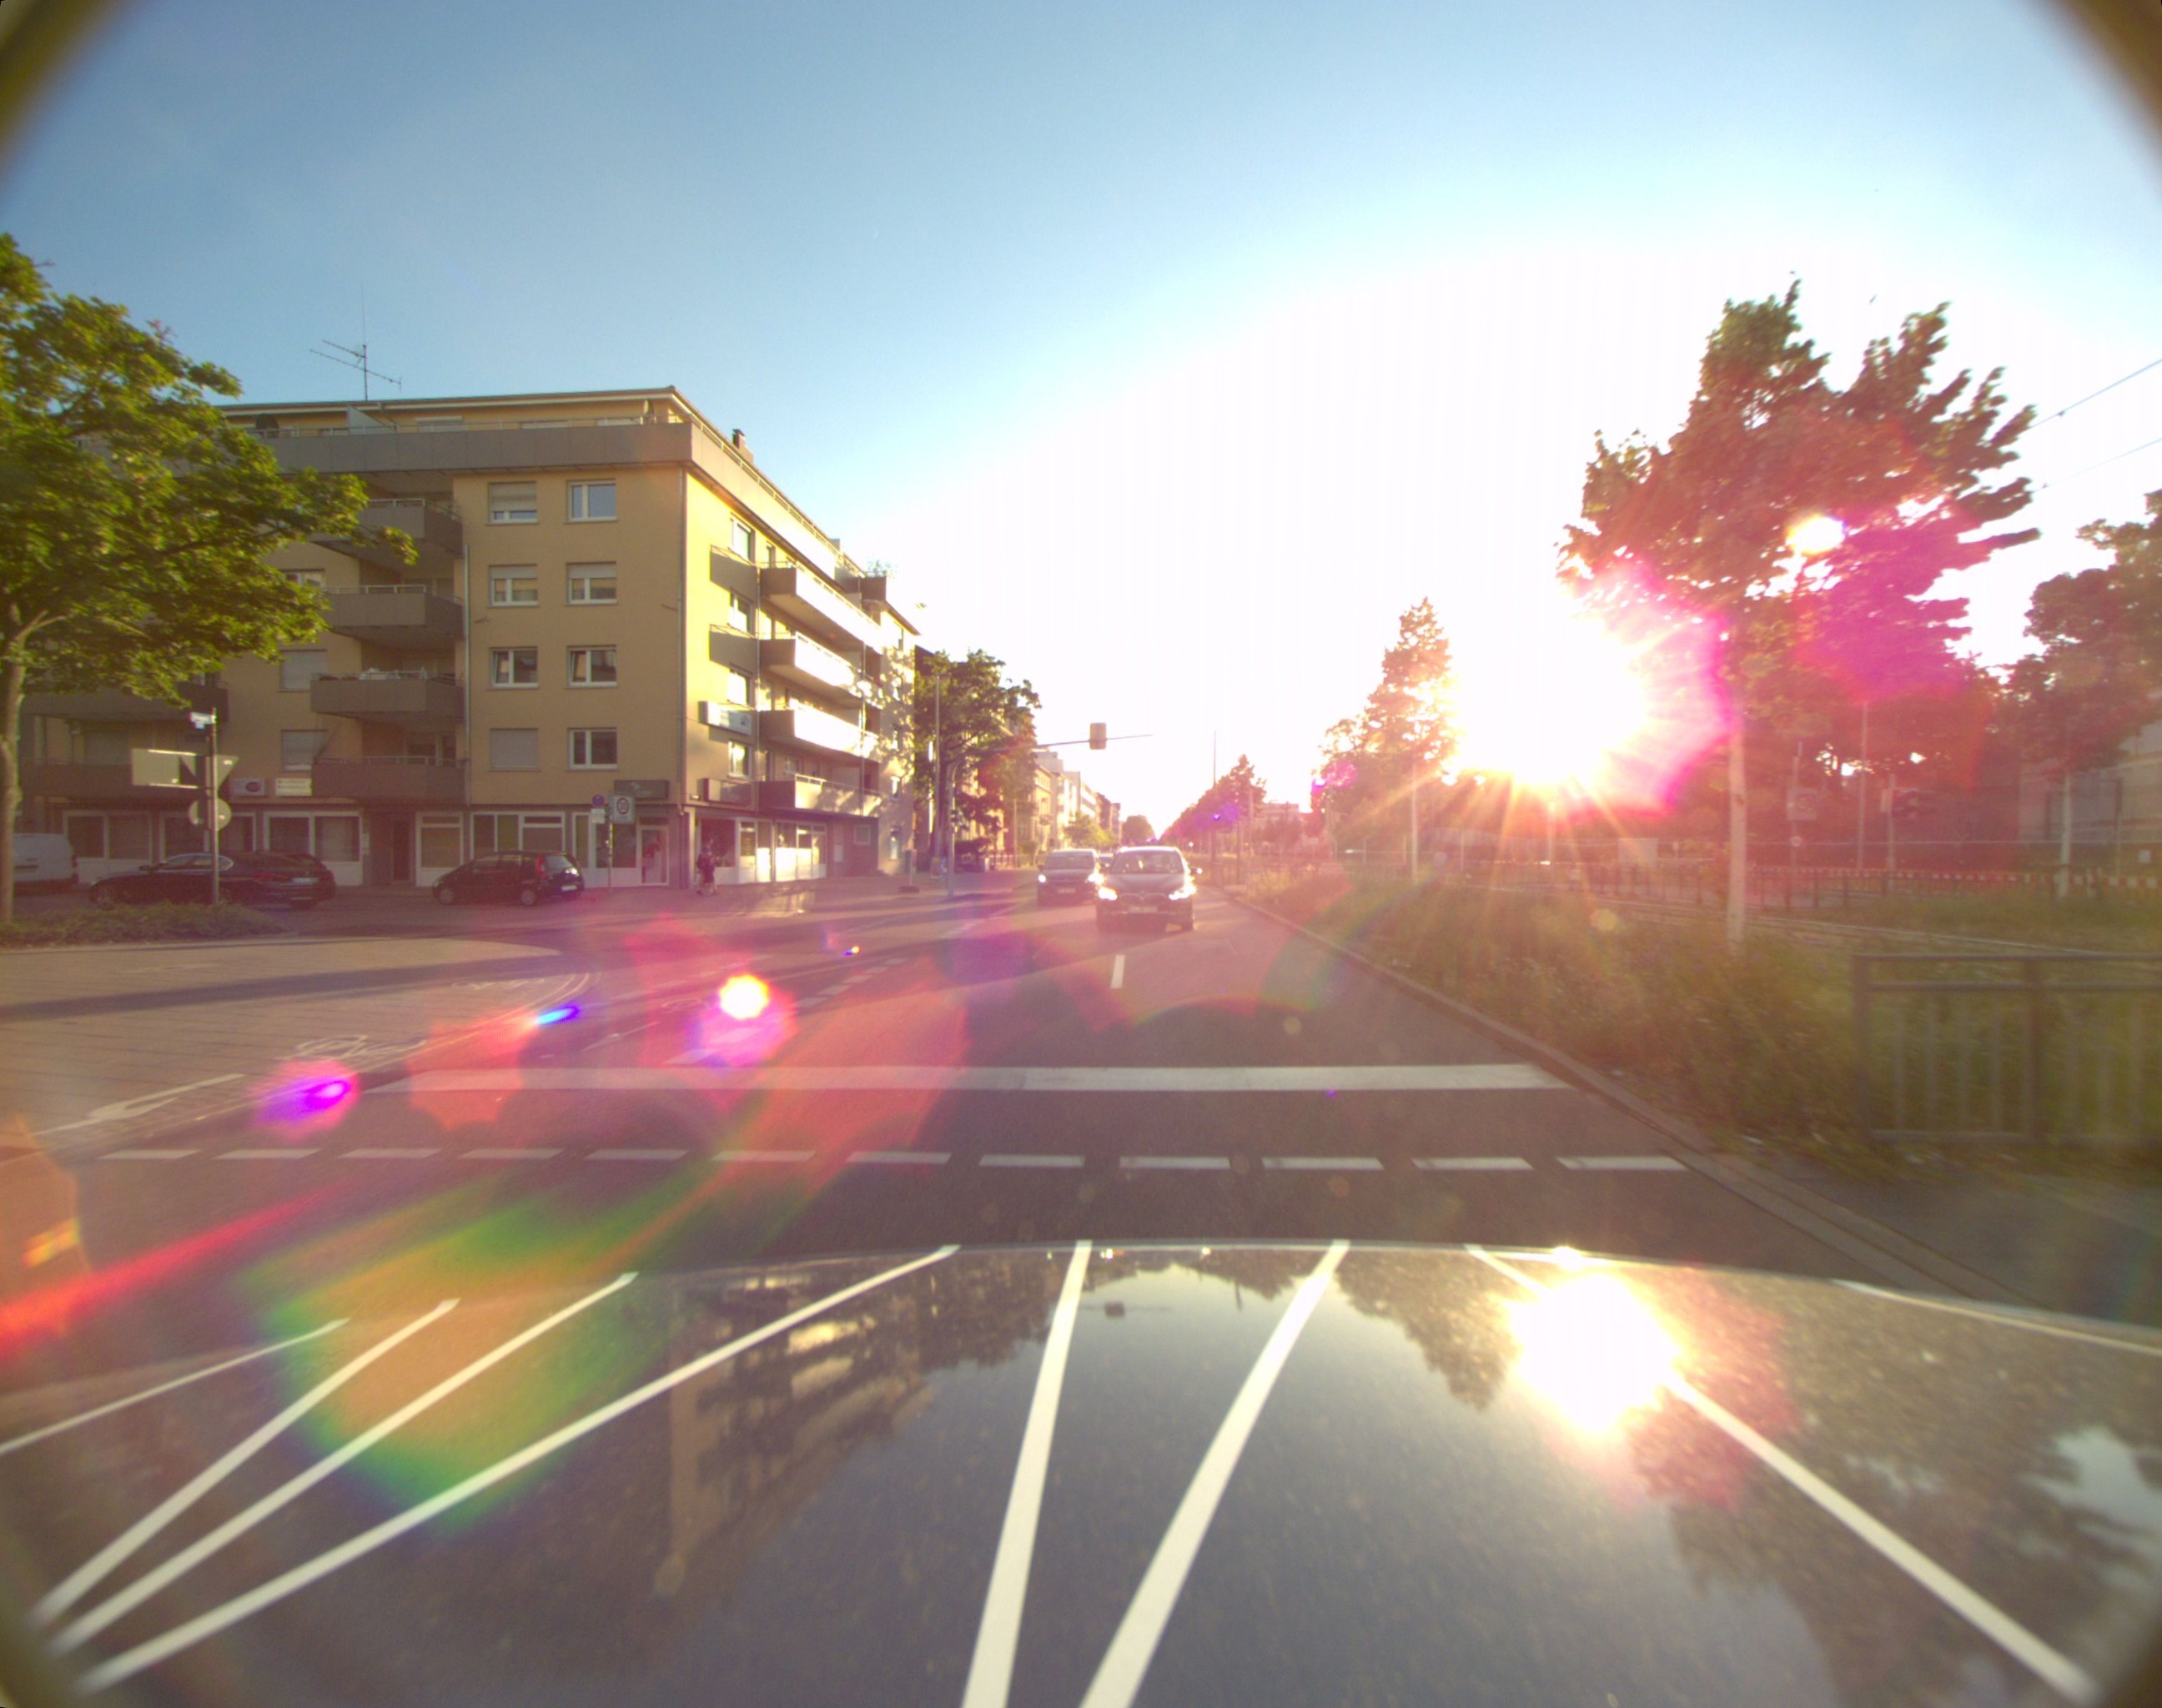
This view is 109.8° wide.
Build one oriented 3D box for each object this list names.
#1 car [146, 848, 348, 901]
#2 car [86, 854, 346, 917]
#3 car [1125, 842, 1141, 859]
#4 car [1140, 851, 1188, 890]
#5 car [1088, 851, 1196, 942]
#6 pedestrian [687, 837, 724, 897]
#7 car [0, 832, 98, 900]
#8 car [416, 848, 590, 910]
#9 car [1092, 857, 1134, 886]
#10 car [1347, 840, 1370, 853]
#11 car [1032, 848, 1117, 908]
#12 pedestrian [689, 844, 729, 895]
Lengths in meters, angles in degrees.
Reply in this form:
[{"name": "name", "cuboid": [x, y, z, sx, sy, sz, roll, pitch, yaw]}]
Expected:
[{"name": "car", "cuboid": [-25.235, 0.597, 23.092, 4.225, 1.433, 1.655, 0, 4, 1]}, {"name": "car", "cuboid": [-21.237, 0.752, 18.756, 4.617, 1.460, 1.807, 0, -1, 4]}, {"name": "car", "cuboid": [6.335, -0.413, 92.789, 1.726, 1.910, 4.294, -2, 0, 2]}, {"name": "car", "cuboid": [3.424, 0.658, 31.925, 1.832, 1.455, 4.304, -2, 0, 5]}, {"name": "car", "cuboid": [1.351, 0.734, 15.486, 1.824, 1.510, 4.793, -1, 1, 7]}, {"name": "pedestrian", "cuboid": [-11.613, 0.388, 23.508, 0.839, 1.849, 0.544, 0, 2, 5]}, {"name": "car", "cuboid": [-33.507, 0.322, 23.175, 4.535, 1.855, 1.999, 0, 5, 4]}, {"name": "car", "cuboid": [-16.413, 0.685, 21.675, 3.811, 1.552, 1.615, 1, 4, 6]}, {"name": "car", "cuboid": [1.810, 0.919, 41.844, 1.914, 1.387, 4.279, -2, 0, 7]}, {"name": "car", "cuboid": [36.503, -0.990, 100.055, 1.848, 1.551, 3.801, -2, 0, 5]}, {"name": "car", "cuboid": [-0.083, 0.658, 23.013, 1.826, 1.589, 4.370, -1, 0, 10]}, {"name": "pedestrian", "cuboid": [-11.831, 0.485, 24.203, 0.821, 1.606, 0.767, 0, 2, 7]}]
